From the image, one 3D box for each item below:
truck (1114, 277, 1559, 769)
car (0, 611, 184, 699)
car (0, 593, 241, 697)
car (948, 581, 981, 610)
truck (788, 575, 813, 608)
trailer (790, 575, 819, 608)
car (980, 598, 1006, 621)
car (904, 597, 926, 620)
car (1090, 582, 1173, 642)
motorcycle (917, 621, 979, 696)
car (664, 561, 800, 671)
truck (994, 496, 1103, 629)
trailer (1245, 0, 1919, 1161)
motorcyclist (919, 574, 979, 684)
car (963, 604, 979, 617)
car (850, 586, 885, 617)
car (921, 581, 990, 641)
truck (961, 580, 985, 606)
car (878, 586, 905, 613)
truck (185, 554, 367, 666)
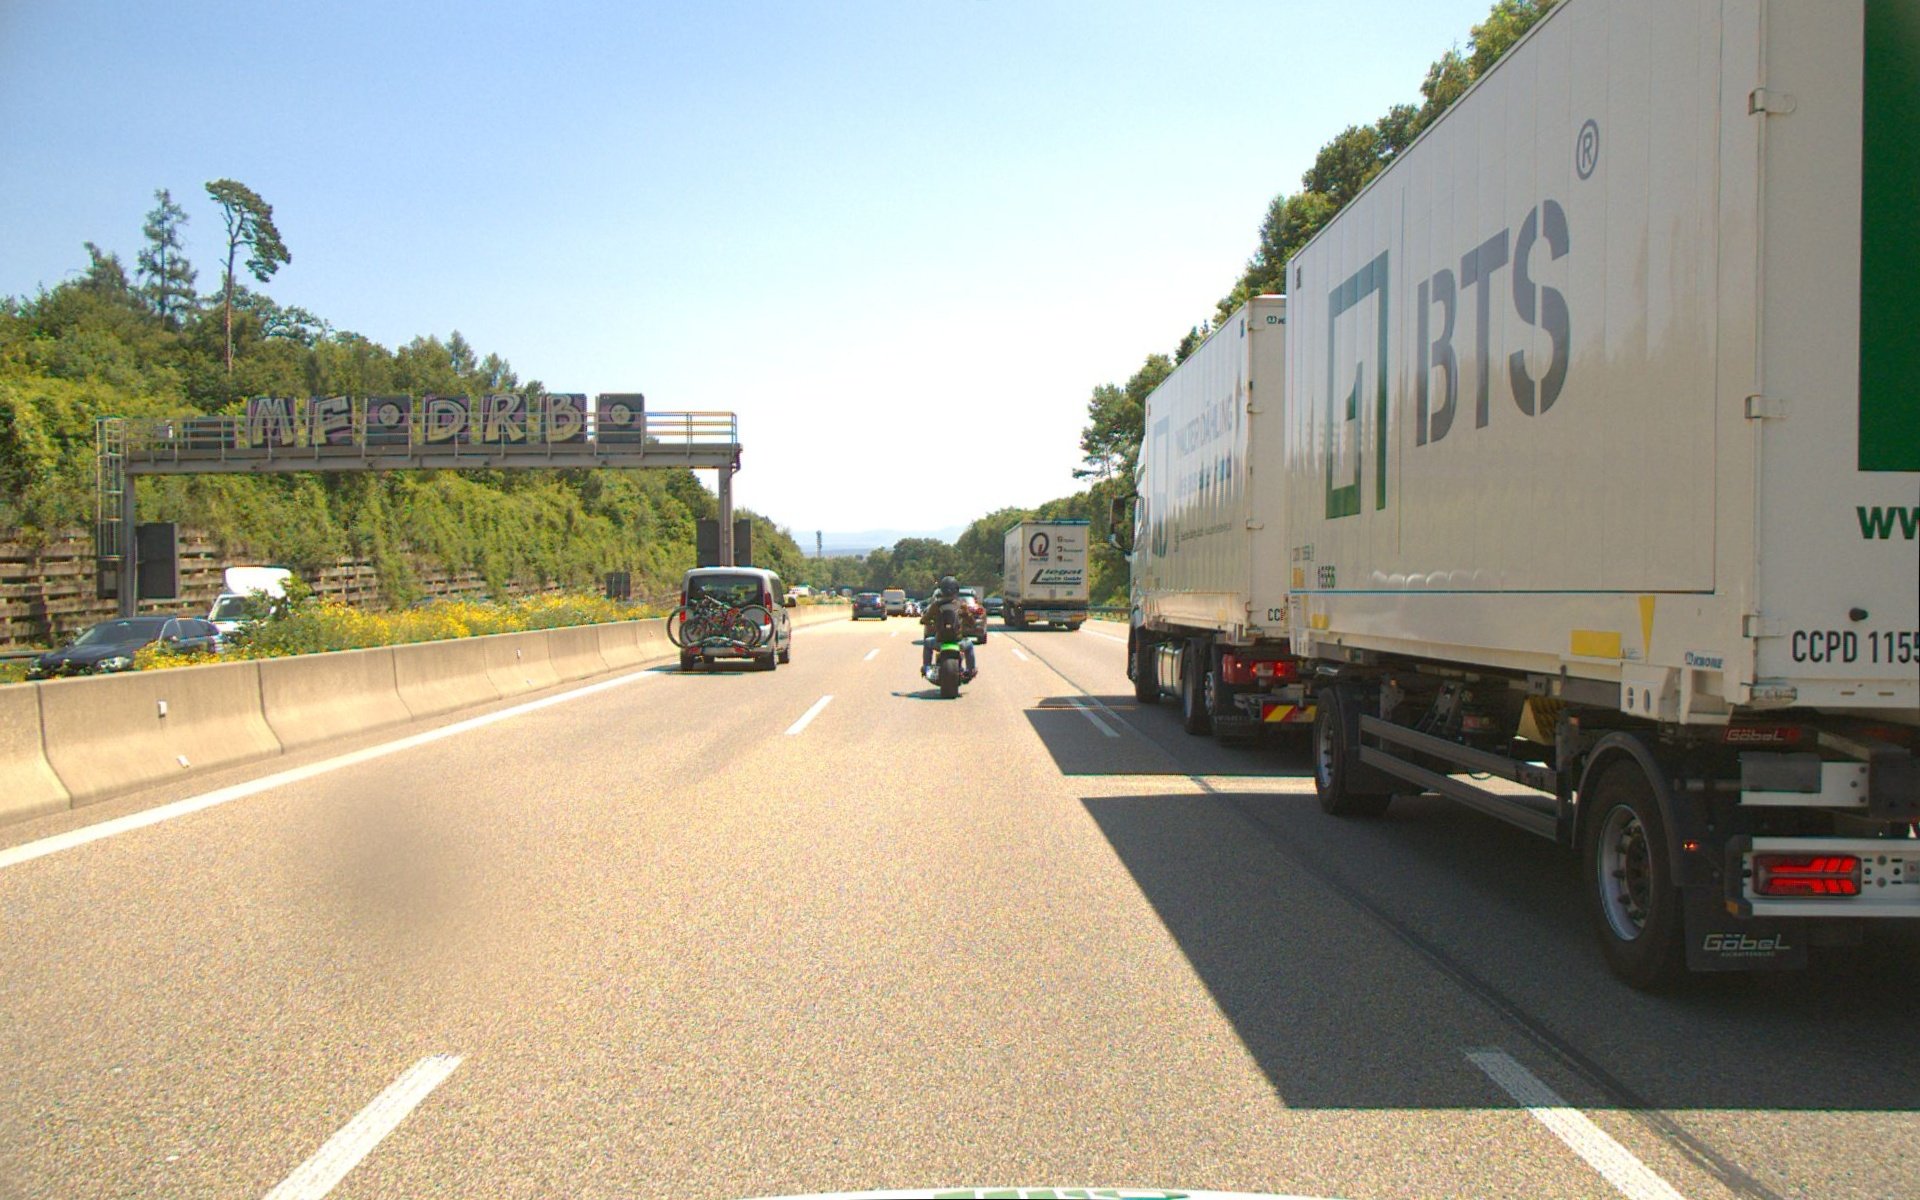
[{"bbox_3d":[3.683,-0.687,19.279,2.625,4.130,10.624,0,0,-1],"label":"truck"},{"bbox_3d":[-18.508,1.112,35.373,1.763,1.632,4.371,-2,1,-1],"label":"car"},{"bbox_3d":[-15.076,0.735,30.008,1.962,1.633,4.862,-2,1,-1],"label":"car"},{"bbox_3d":[0.225,-0.293,95.125,1.794,1.585,4.119,1,1,-1],"label":"car"},{"bbox_3d":[-20.031,-1.104,207.663,2.625,4.101,5.930,0,0,-1],"label":"truck"},{"bbox_3d":[-20.151,-1.144,214.840,2.625,4.085,14.185,0,0,-1],"label":"trailer"},{"bbox_3d":[2.405,0.673,121.728,1.794,1.553,4.026,1,1,-1],"label":"car"},{"bbox_3d":[-3.727,0.692,138.456,1.794,1.842,4.119,1,1,-1],"label":"car"},{"bbox_3d":[4.788,0.310,46.727,1.808,1.584,4.391,1,1,-1],"label":"car"},{"bbox_3d":[-0.158,0.818,23.787,0.844,0.999,2.130,0,0,0],"label":"motorcycle"},{"bbox_3d":[-4.179,0.278,31.106,1.859,1.880,5.482,1,0,-1],"label":"car"},{"bbox_3d":[3.429,-1.433,69.363,3.314,4.800,17.706,1,0,-1],"label":"truck"},{"bbox_3d":[3.799,-0.662,8.865,2.625,4.248,10.063,0,0,-1],"label":"trailer"},{"bbox_3d":[-0.158,0.411,23.608,0.838,1.541,0.914,0,0,0],"label":"motorcyclist"},{"bbox_3d":[1.342,1.245,201.201,1.794,1.553,4.026,1,1,-1],"label":"car"},{"bbox_3d":[-4.979,0.066,89.226,1.722,1.570,4.394,1,1,-1],"label":"car"},{"bbox_3d":[-0.157,0.274,46.450,1.808,1.584,4.438,1,1,-1],"label":"car"},{"bbox_3d":[1.715,-0.999,224.982,3.005,3.405,9.650,1,0,-1],"label":"truck"},{"bbox_3d":[-4.875,-0.039,118.278,1.794,1.842,4.119,1,1,-1],"label":"car"},{"bbox_3d":[-20.266,0.239,49.501,2.527,3.045,7.061,-2,1,-1],"label":"truck"}]
